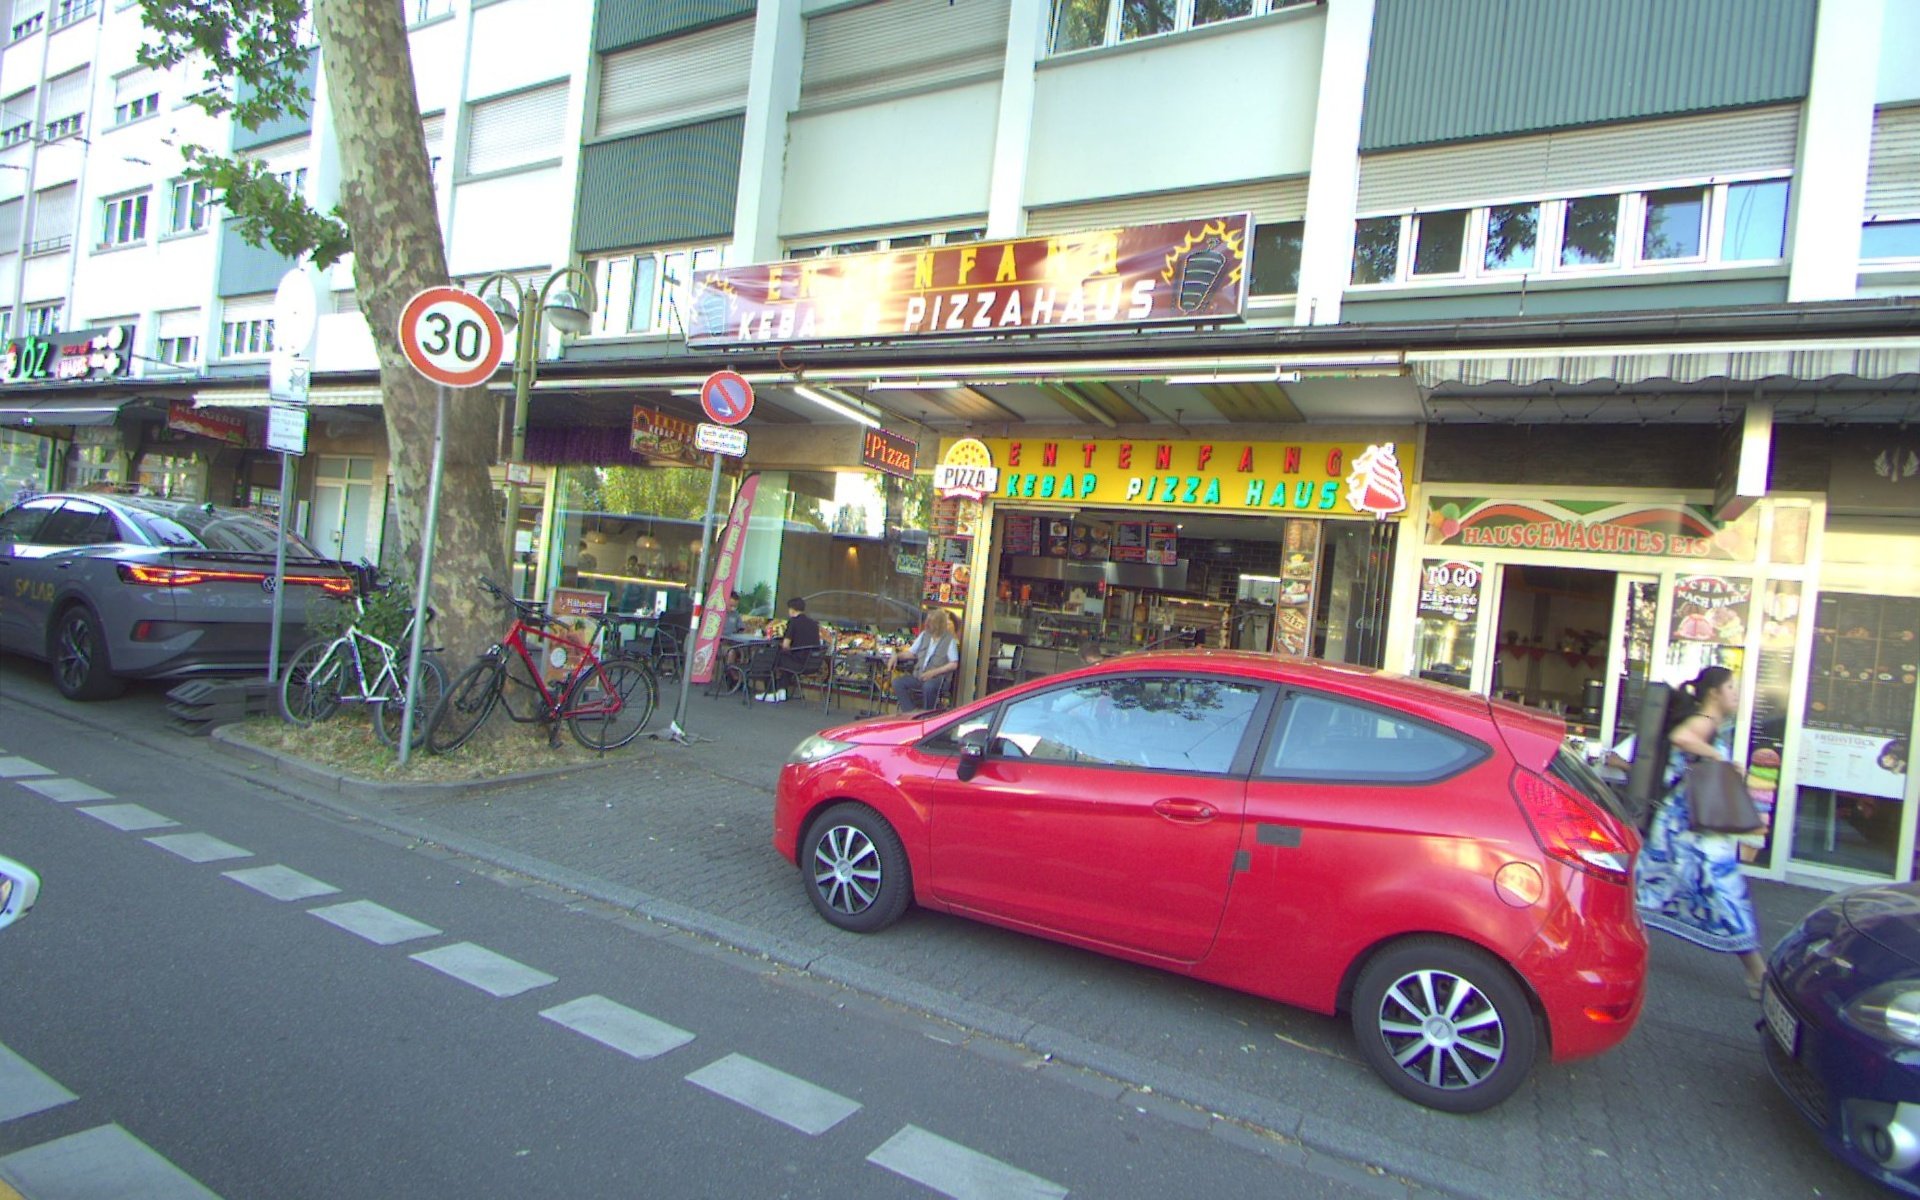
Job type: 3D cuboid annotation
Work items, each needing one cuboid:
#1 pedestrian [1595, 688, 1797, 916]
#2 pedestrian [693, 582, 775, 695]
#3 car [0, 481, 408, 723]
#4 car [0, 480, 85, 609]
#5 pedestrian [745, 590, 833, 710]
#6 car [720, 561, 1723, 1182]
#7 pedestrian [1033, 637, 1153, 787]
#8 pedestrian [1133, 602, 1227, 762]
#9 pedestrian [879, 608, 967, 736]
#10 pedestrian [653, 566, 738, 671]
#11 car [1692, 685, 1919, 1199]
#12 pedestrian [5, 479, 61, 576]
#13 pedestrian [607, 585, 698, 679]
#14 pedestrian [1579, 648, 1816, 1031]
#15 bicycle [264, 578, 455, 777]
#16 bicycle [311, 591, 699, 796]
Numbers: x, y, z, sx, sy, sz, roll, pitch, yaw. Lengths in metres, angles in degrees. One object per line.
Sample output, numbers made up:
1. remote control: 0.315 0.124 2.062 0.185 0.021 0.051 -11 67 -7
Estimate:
1. pedestrian: 5.217 1.372 7.228 0.937 1.352 1.069 7 0 30
2. pedestrian: -2.723 0.460 12.117 0.680 1.261 0.557 7 2 38
3. car: -7.329 -0.111 9.062 4.292 1.603 1.996 7 2 27
4. car: -14.070 -0.935 13.523 4.292 1.603 1.996 7 2 27
5. pedestrian: -1.946 0.558 11.463 0.679 1.261 0.558 7 2 33
6. car: 0.969 0.814 4.717 3.757 1.617 1.782 6 3 28
7. pedestrian: 1.228 0.997 9.241 0.798 1.225 0.654 7 2 28
8. pedestrian: 2.313 0.850 10.539 0.589 1.566 0.700 7 0 34
9. pedestrian: -0.386 0.753 10.716 0.550 1.252 0.689 7 2 29
10. pedestrian: -3.751 0.260 14.354 0.958 1.350 0.830 6 0 -9
11. car: 4.364 1.258 2.688 3.549 1.488 1.767 6 3 29
12. pedestrian: -16.938 -1.321 18.399 0.661 1.688 0.593 4 2 -42
13. pedestrian: -3.975 0.404 13.053 0.940 1.094 0.639 7 0 -9
14. pedestrian: 3.603 1.107 4.986 0.783 1.666 0.583 4 -1 30
15. bicycle: -4.231 0.509 7.053 1.421 1.169 0.553 6 0 36
16. bicycle: -3.009 0.562 6.914 0.547 1.171 2.377 7 4 44
